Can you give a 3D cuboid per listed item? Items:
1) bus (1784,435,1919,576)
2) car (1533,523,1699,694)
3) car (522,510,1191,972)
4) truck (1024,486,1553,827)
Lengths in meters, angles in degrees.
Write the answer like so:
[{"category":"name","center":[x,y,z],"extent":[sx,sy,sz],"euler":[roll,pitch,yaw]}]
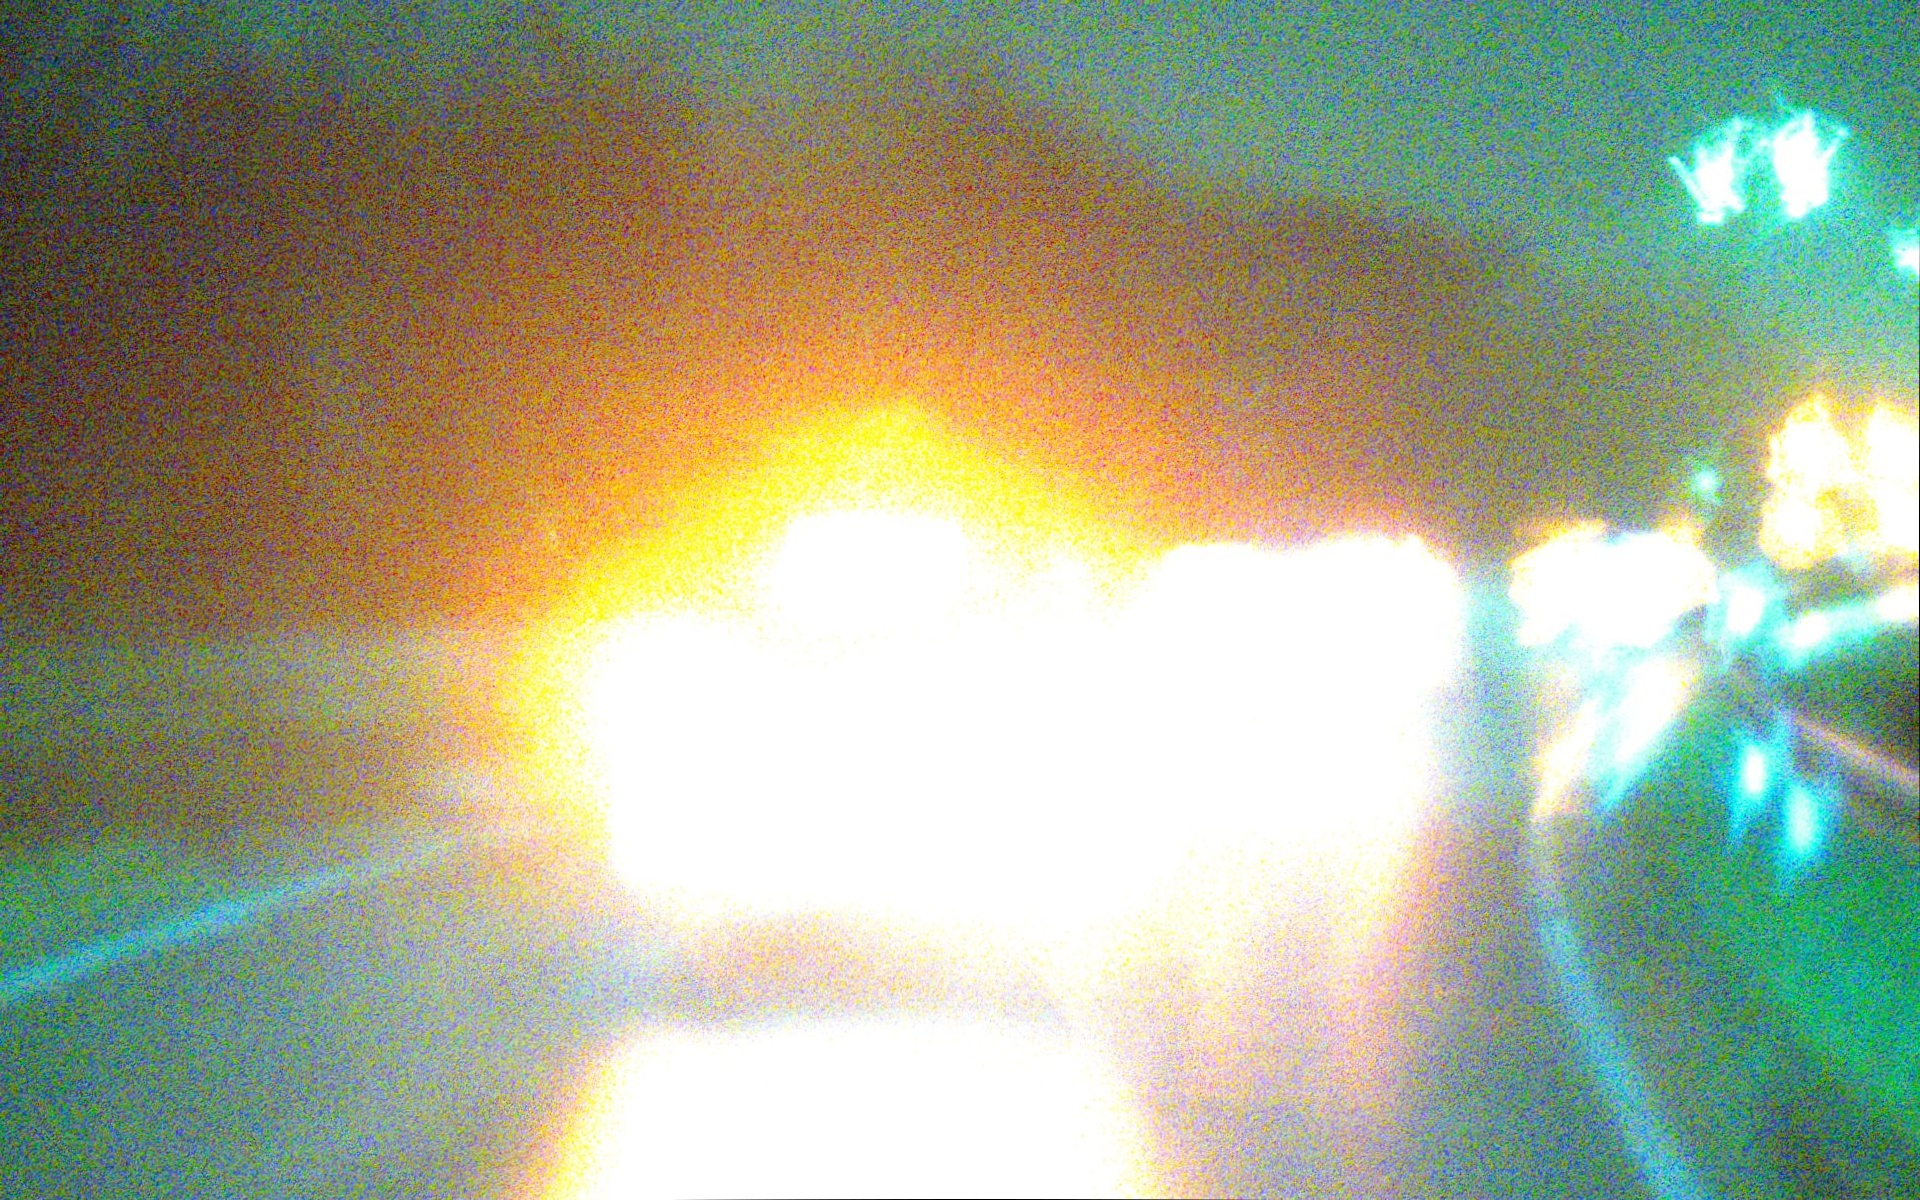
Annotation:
[{"category":"bus","center":[21.669,-2.230,80.801],"extent":[2.747,3.112,9.189],"euler":[1,2,25]},{"category":"car","center":[7.941,0.082,41.394],"extent":[1.837,1.942,3.998],"euler":[1,0,12]},{"category":"car","center":[-0.225,0.447,13.038],"extent":[1.945,1.486,3.715],"euler":[-1,0,8]},{"category":"truck","center":[3.038,0.395,29.416],"extent":[3.072,2.520,7.160],"euler":[1,0,17]}]
